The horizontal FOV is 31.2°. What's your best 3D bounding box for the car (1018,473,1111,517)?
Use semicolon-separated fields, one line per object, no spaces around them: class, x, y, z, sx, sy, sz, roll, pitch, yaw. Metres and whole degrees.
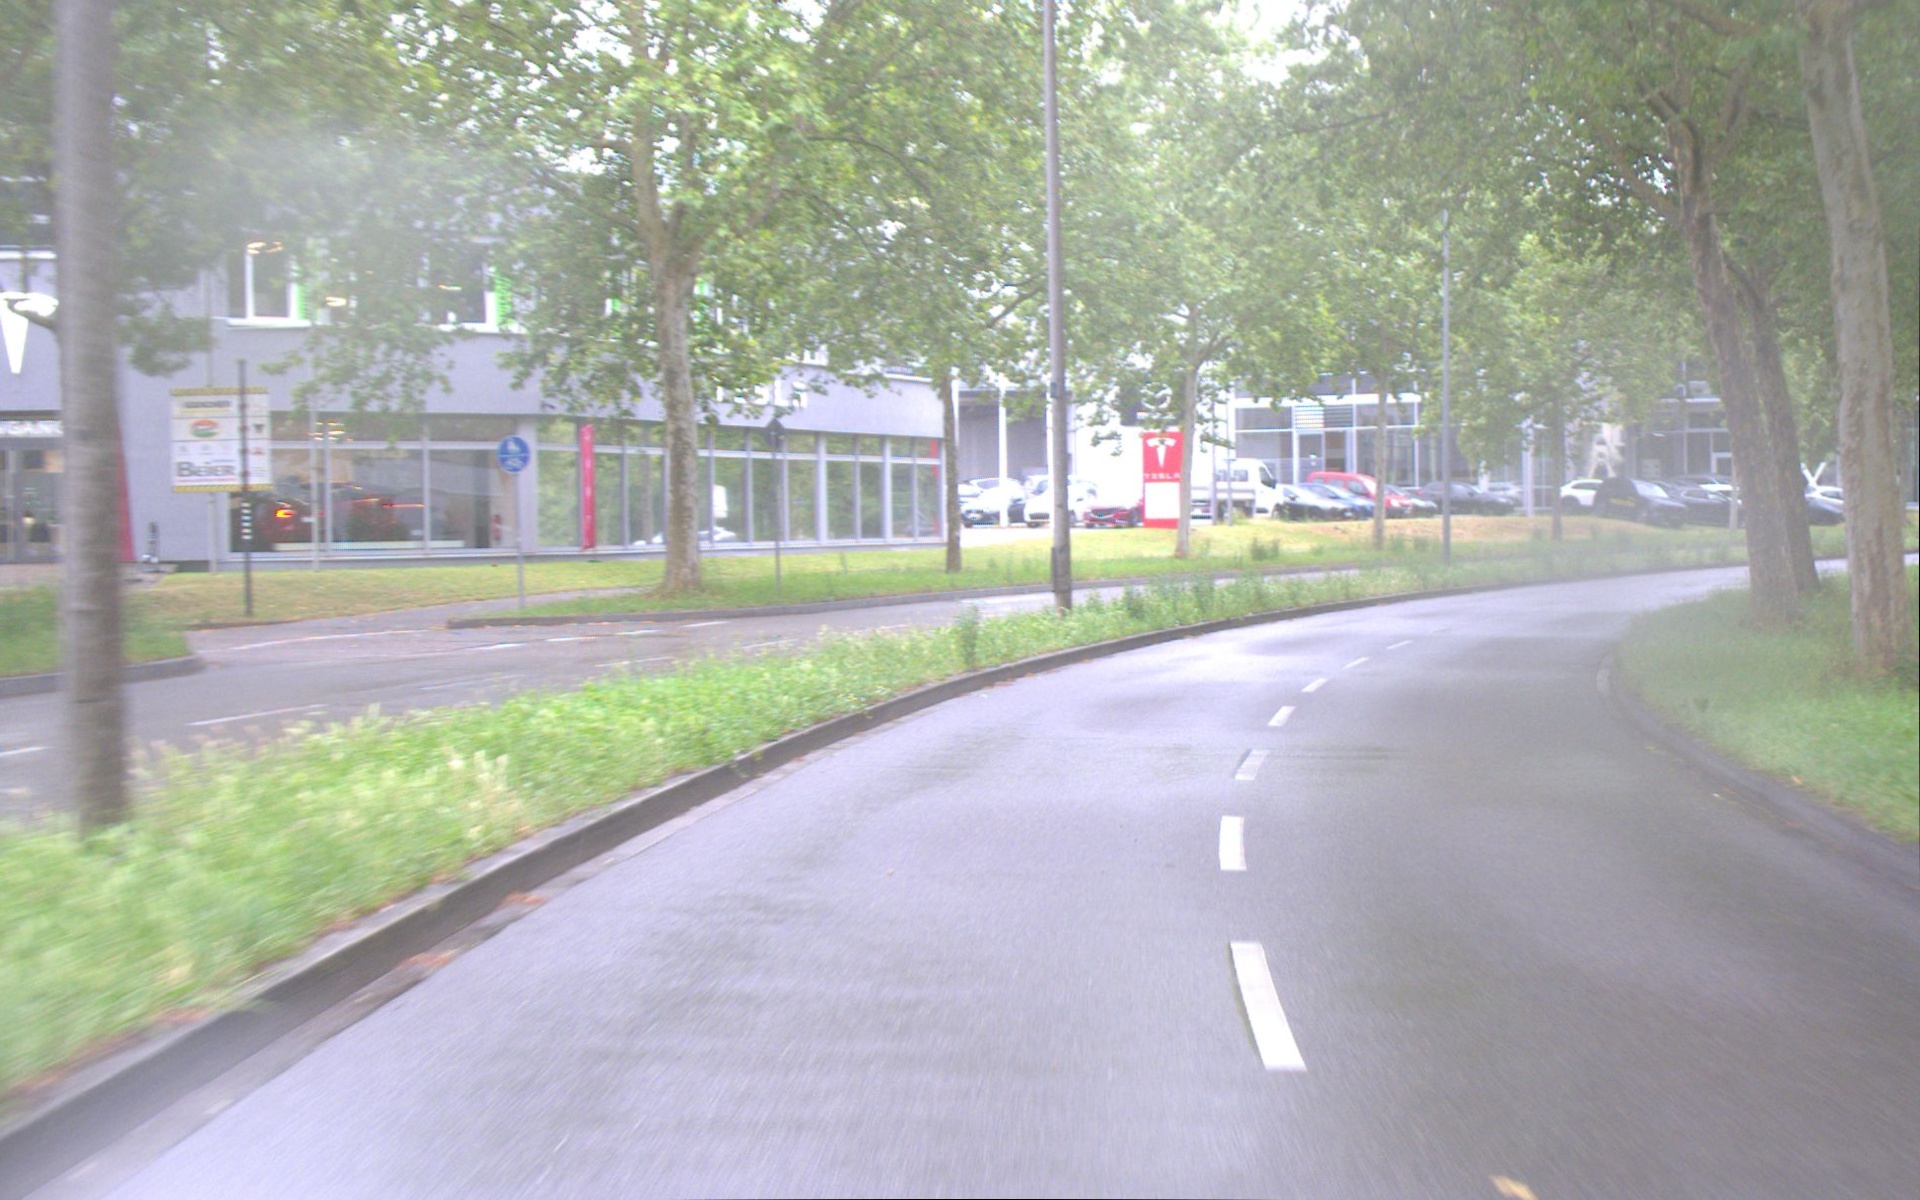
car;3.728;-3.754;122.447;1.765;1.392;4.152;2;4;26

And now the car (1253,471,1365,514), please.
car;12.441;-3.854;122.564;3.529;1.322;1.765;4;5;32

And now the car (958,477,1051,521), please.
car;1.617;-3.641;123.516;1.765;1.392;4.152;2;4;26

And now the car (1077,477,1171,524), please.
car;5.761;-3.502;120.441;1.765;1.462;4.152;2;4;26

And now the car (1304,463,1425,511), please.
car;14.923;-4.176;126.912;4.003;1.551;1.844;4;5;32

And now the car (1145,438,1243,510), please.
car;9.327;-5.077;137.711;2.163;2.742;5.341;0;3;-16

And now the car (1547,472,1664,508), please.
car;26.993;-4.603;143.746;4.429;1.468;1.917;1;3;30

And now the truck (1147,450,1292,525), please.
truck;9.042;-3.925;119.254;2.251;2.336;6.183;4;5;33

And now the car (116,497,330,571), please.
car;-15.186;-1.374;70.808;4.197;1.489;1.596;1;2;26
